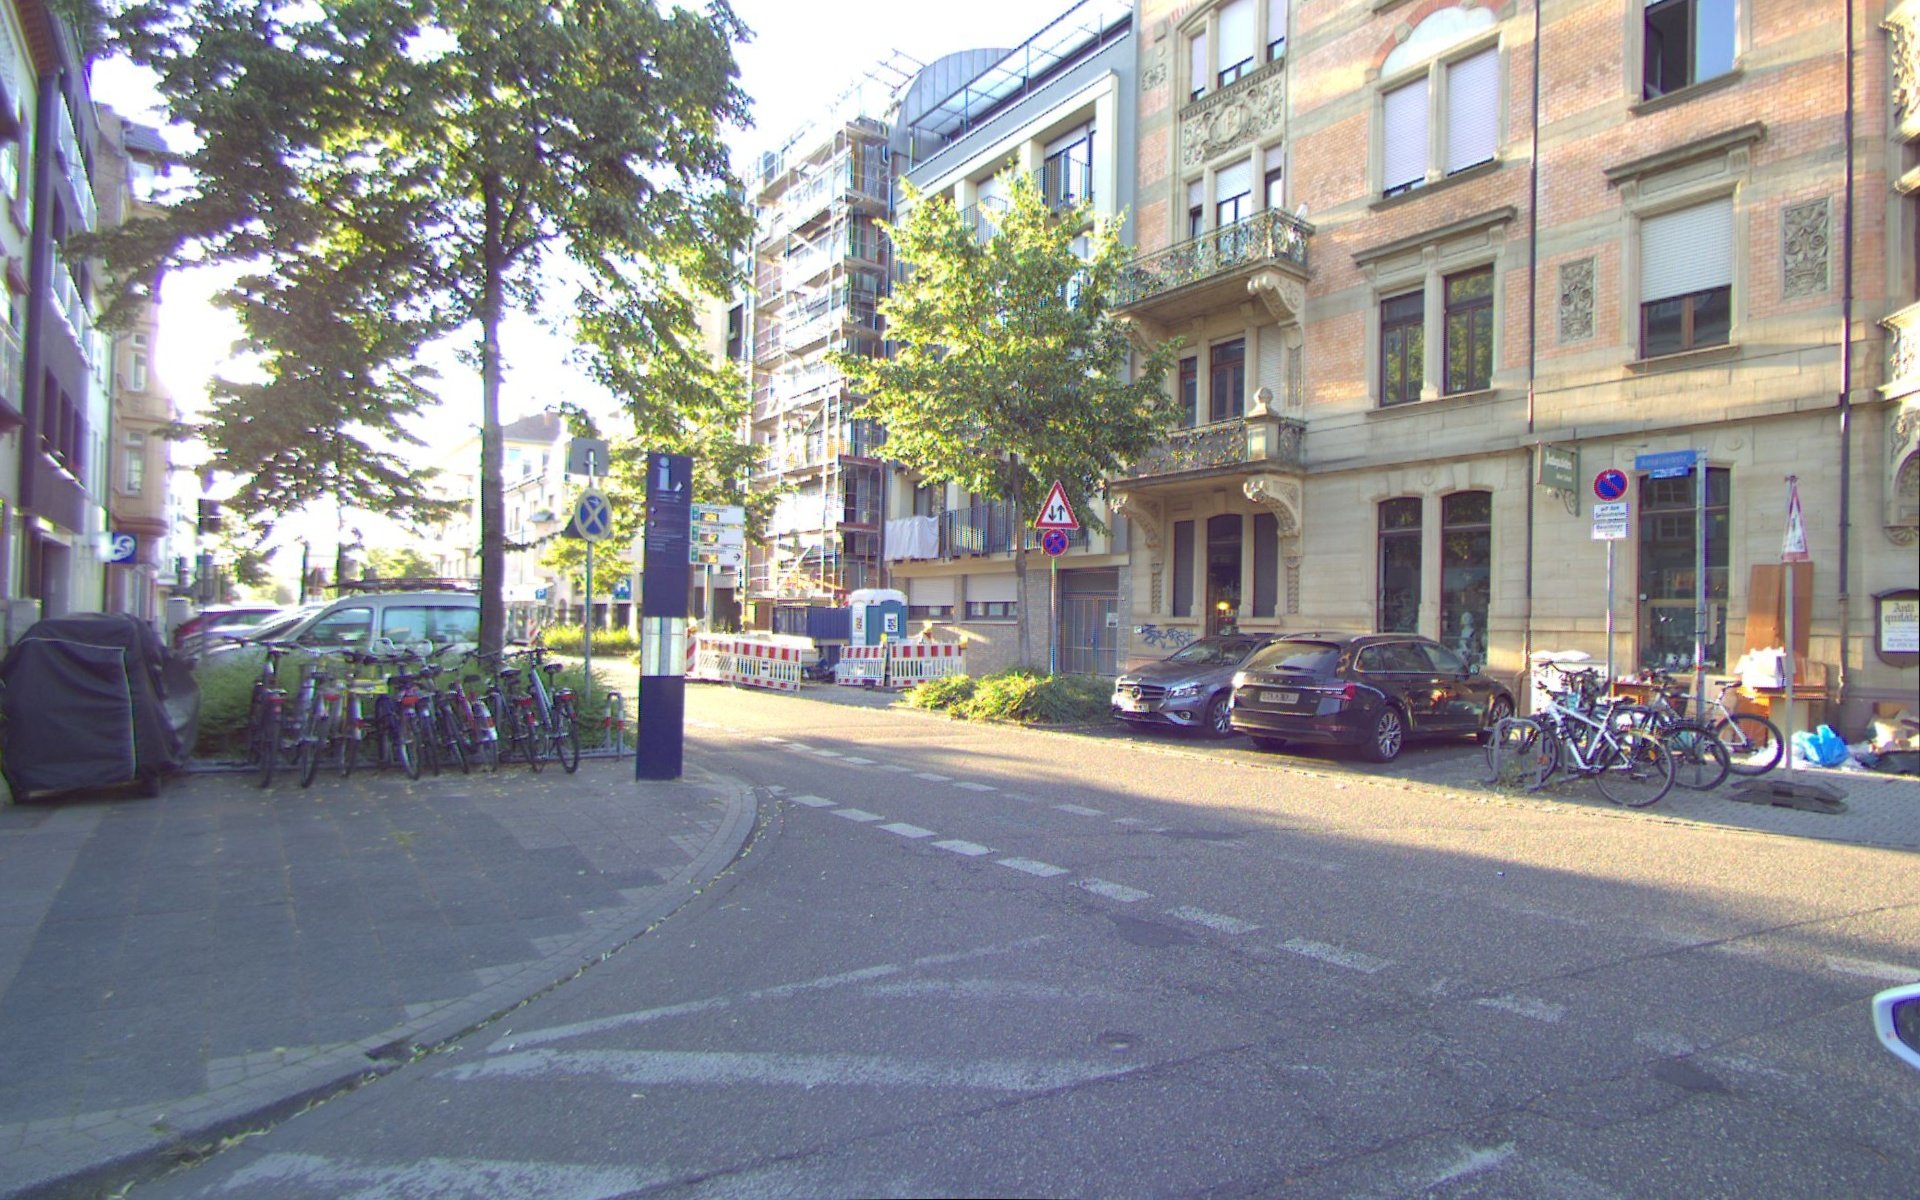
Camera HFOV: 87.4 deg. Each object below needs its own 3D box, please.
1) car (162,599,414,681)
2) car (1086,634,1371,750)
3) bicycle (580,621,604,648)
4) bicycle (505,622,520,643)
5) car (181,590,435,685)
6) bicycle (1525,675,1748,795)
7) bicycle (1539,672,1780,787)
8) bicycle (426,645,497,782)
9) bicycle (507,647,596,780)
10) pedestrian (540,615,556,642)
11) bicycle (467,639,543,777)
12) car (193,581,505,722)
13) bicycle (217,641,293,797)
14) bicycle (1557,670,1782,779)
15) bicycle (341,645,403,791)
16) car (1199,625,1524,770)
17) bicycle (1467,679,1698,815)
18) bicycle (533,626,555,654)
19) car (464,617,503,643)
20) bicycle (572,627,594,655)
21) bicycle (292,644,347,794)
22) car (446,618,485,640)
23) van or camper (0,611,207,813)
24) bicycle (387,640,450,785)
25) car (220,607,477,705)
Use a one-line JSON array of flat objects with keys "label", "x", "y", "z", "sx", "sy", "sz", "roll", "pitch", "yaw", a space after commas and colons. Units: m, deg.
[{"label": "car", "x": -13.885, "y": 0.833, "z": 20.877, "sx": 4.187, "sy": 1.536, "sz": 1.742, "roll": 3, "pitch": -2, "yaw": -40}, {"label": "car", "x": 4.182, "y": 1.277, "z": 15.337, "sx": 4.499, "sy": 1.499, "sz": 1.848, "roll": 1, "pitch": -2, "yaw": -37}, {"label": "bicycle", "x": -15.745, "y": 1.473, "z": 42.959, "sx": 0.380, "sy": 1.114, "sz": 1.504, "roll": 2, "pitch": -2, "yaw": -43}, {"label": "bicycle", "x": -27.443, "y": 2.007, "z": 61.634, "sx": 0.395, "sy": 1.251, "sz": 1.805, "roll": 1, "pitch": -1, "yaw": -39}, {"label": "car", "x": -12.174, "y": 0.750, "z": 18.961, "sx": 3.799, "sy": 1.605, "sz": 1.725, "roll": 4, "pitch": -3, "yaw": -34}, {"label": "bicycle", "x": 6.931, "y": 1.340, "z": 10.381, "sx": 0.634, "sy": 1.027, "sz": 1.813, "roll": 2, "pitch": -2, "yaw": -37}, {"label": "bicycle", "x": 7.635, "y": 1.370, "z": 11.073, "sx": 0.634, "sy": 1.027, "sz": 2.088, "roll": 2, "pitch": -2, "yaw": -37}, {"label": "bicycle", "x": -4.533, "y": 0.982, "z": 9.097, "sx": 0.317, "sy": 1.096, "sz": 1.581, "roll": 4, "pitch": -3, "yaw": -34}, {"label": "bicycle", "x": -3.917, "y": 1.032, "z": 9.574, "sx": 0.392, "sy": 1.122, "sz": 1.696, "roll": 4, "pitch": -4, "yaw": -34}, {"label": "pedestrian", "x": -25.034, "y": 1.721, "z": 60.999, "sx": 0.805, "sy": 1.668, "sz": 0.600, "roll": 0, "pitch": -2, "yaw": -37}, {"label": "bicycle", "x": -4.272, "y": 0.965, "z": 9.387, "sx": 0.328, "sy": 1.155, "sz": 1.581, "roll": 4, "pitch": -3, "yaw": -34}, {"label": "car", "x": -9.065, "y": 0.759, "z": 15.144, "sx": 3.783, "sy": 1.874, "sz": 1.685, "roll": 2, "pitch": -2, "yaw": -33}, {"label": "bicycle", "x": -5.644, "y": 0.905, "z": 8.084, "sx": 0.392, "sy": 1.096, "sz": 1.581, "roll": 4, "pitch": -3, "yaw": -34}, {"label": "bicycle", "x": 8.124, "y": 1.385, "z": 11.607, "sx": 0.461, "sy": 1.054, "sz": 2.088, "roll": 2, "pitch": -1, "yaw": -37}, {"label": "bicycle", "x": -5.030, "y": 0.951, "z": 8.566, "sx": 0.338, "sy": 1.096, "sz": 1.581, "roll": 2, "pitch": -2, "yaw": -34}, {"label": "car", "x": 5.305, "y": 1.110, "z": 13.034, "sx": 4.499, "sy": 1.531, "sz": 1.891, "roll": 1, "pitch": -1, "yaw": -37}, {"label": "bicycle", "x": 5.899, "y": 1.344, "z": 9.622, "sx": 0.565, "sy": 1.060, "sz": 1.815, "roll": 2, "pitch": -1, "yaw": -34}, {"label": "bicycle", "x": -16.868, "y": 1.609, "z": 40.700, "sx": 0.380, "sy": 1.114, "sz": 1.506, "roll": 2, "pitch": -2, "yaw": -39}, {"label": "car", "x": -29.171, "y": 1.816, "z": 61.468, "sx": 1.624, "sy": 1.574, "sz": 2.664, "roll": 2, "pitch": -2, "yaw": -39}, {"label": "bicycle", "x": -16.518, "y": 1.788, "z": 44.029, "sx": 0.380, "sy": 1.205, "sz": 1.505, "roll": 4, "pitch": -3, "yaw": -40}, {"label": "bicycle", "x": -5.304, "y": 0.926, "z": 8.296, "sx": 0.320, "sy": 1.096, "sz": 1.581, "roll": 2, "pitch": -2, "yaw": -34}, {"label": "car", "x": -32.997, "y": 1.921, "z": 66.977, "sx": 1.624, "sy": 1.443, "sz": 3.718, "roll": 2, "pitch": -2, "yaw": -37}, {"label": "van or camper", "x": -6.243, "y": 0.750, "z": 7.356, "sx": 0.934, "sy": 1.276, "sz": 1.829, "roll": 4, "pitch": -3, "yaw": -32}, {"label": "bicycle", "x": -4.824, "y": 0.948, "z": 8.911, "sx": 0.309, "sy": 1.163, "sz": 1.597, "roll": 3, "pitch": -3, "yaw": -34}, {"label": "car", "x": -10.512, "y": 0.952, "z": 17.492, "sx": 3.621, "sy": 1.535, "sz": 1.635, "roll": 2, "pitch": -2, "yaw": -32}]
